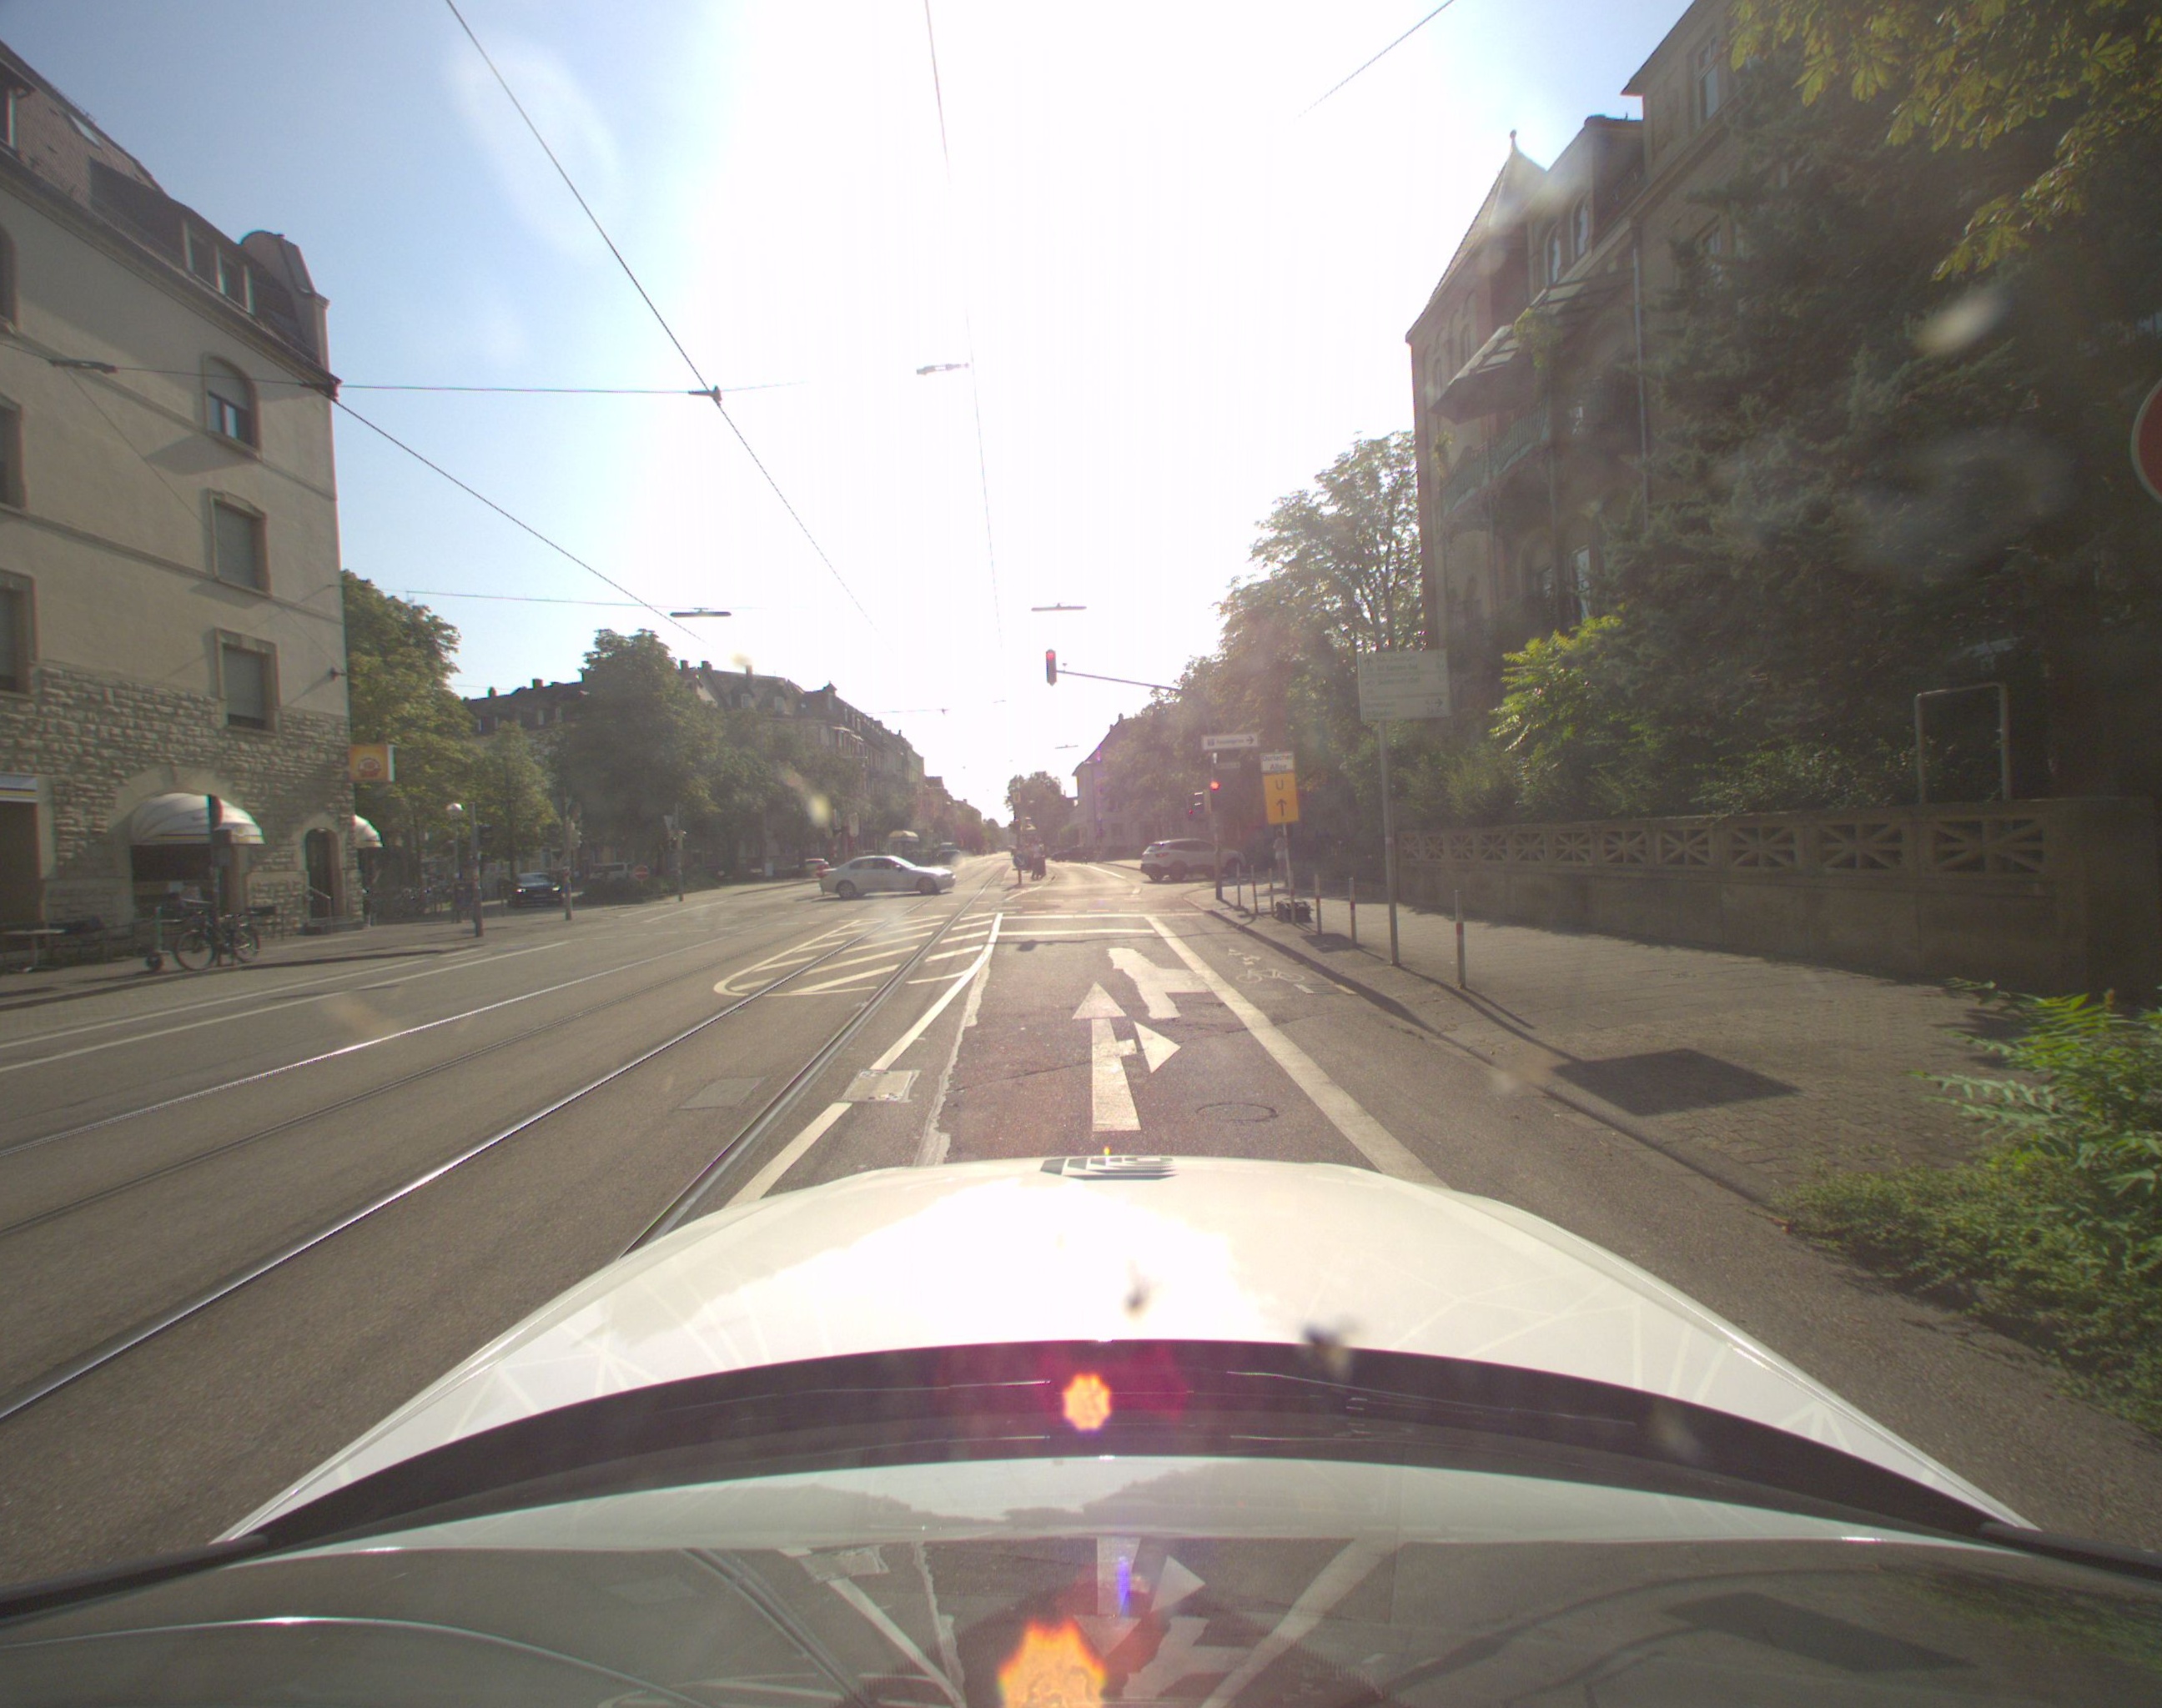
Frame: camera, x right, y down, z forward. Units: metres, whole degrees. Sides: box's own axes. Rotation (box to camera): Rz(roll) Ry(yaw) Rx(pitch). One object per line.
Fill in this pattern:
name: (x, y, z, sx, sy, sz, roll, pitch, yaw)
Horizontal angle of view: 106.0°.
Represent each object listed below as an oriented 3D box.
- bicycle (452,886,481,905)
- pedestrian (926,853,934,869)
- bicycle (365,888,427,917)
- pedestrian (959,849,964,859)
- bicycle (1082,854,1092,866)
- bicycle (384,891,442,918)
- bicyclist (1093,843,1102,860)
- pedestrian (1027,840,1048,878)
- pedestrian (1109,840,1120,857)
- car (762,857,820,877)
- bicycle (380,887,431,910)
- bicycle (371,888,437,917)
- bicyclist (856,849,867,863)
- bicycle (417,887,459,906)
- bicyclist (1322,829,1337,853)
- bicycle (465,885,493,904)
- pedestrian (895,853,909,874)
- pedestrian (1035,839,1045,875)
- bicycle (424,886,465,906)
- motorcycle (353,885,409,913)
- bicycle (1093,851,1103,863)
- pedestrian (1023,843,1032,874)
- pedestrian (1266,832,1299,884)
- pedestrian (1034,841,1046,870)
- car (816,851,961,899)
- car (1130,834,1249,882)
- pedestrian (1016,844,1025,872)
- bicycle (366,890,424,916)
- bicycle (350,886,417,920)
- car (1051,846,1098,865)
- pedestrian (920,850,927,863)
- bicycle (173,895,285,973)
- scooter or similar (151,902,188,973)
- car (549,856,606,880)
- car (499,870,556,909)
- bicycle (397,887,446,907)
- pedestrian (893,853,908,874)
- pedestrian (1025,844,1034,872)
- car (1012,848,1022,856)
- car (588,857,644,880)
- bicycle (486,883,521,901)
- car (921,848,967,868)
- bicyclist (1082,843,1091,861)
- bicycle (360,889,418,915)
bicycle: (-36.390, 2.443, 48.221, 0.423, 0.977, 1.767, -3, 1, -4)
pedestrian: (-17.431, 0.785, 94.191, 0.748, 1.730, 0.771, -3, 0, -2)
bicycle: (-27.722, 1.948, 32.973, 1.889, 1.033, 0.563, -2, 0, -43)
pedestrian: (-20.912, 0.024, 142.312, 0.751, 1.730, 0.768, -3, 0, -13)
bicycle: (0.482, 0.503, 69.617, 0.628, 0.977, 1.767, -3, 1, -5)
bicycle: (-25.469, 1.907, 31.086, 0.473, 0.920, 1.618, -3, 0, 26)
bicyclist: (1.402, -0.208, 69.009, 0.557, 1.416, 0.870, -3, 1, -5)
pedestrian: (-2.013, 0.212, 37.815, 0.693, 1.724, 0.753, 1, 3, 29)
pedestrian: (3.627, -0.616, 87.463, 0.884, 1.740, 0.780, -3, 0, 17)
car: (-25.655, 1.156, 72.131, 4.360, 1.569, 1.976, -3, 1, -42)
bicycle: (-33.911, 2.226, 40.891, 1.910, 0.980, 0.678, -2, 0, -38)
bicycle: (-26.588, 1.909, 32.026, 0.562, 1.003, 1.890, -3, 0, 33)
bicyclist: (-21.007, 0.197, 78.025, 0.816, 1.328, 0.548, -3, 1, 0)
bicycle: (-37.444, 2.484, 47.428, 1.774, 0.977, 0.515, -3, 1, -26)
bicyclist: (19.660, -1.034, 64.421, 0.496, 1.857, 0.977, -3, 0, -45)
bicycle: (-36.059, 2.428, 48.832, 0.423, 0.977, 1.767, -3, 1, -4)
pedestrian: (-12.015, 0.616, 54.742, 0.827, 1.358, 0.774, -3, 0, -8)
pedestrian: (-2.109, 0.133, 42.079, 0.503, 1.833, 0.533, 0, 3, -4)
bicycle: (-37.627, 2.479, 48.192, 1.774, 0.977, 0.600, -3, 1, -27)
motorcycle: (-32.168, 2.051, 37.434, 1.884, 1.154, 0.601, -2, 0, -38)
bicycle: (1.432, 0.217, 68.999, 0.557, 0.977, 1.853, -3, 1, -5)
pedestrian: (-3.042, 0.255, 46.723, 0.503, 1.759, 0.533, 0, 3, -4)
pedestrian: (6.890, 0.130, 27.825, 0.751, 1.730, 0.768, -3, 0, -13)
pedestrian: (-2.581, 0.090, 50.956, 0.707, 1.759, 0.533, 0, 3, -4)
car: (-6.987, 0.743, 29.859, 4.754, 1.466, 1.870, -3, 0, 0)
car: (4.350, 0.138, 32.622, 4.341, 1.630, 1.983, -3, 1, -26)
pedestrian: (-3.909, 0.240, 52.906, 0.531, 1.759, 0.544, 0, 3, -3)
bicycle: (-28.662, 2.033, 34.040, 1.815, 0.984, 0.563, -2, 0, -45)
bicycle: (-26.348, 1.841, 30.800, 0.563, 1.113, 1.887, -3, 0, 17)
car: (-0.644, 0.132, 80.865, 4.299, 1.569, 2.004, -3, 0, 7)
pedestrian: (-21.136, 0.350, 109.417, 0.751, 1.730, 0.768, -3, 0, -13)
bicycle: (-15.761, 1.443, 15.131, 0.453, 1.226, 1.849, -3, 1, -13)
scooter or similar: (-16.300, 1.469, 14.552, 1.021, 1.197, 0.369, -2, 0, 40)
car: (-42.968, 1.199, 69.525, 3.955, 1.828, 2.009, -3, 1, 17)
car: (-25.135, 1.563, 36.929, 1.620, 1.515, 4.178, -4, 2, -40)
bicycle: (-35.222, 2.273, 43.503, 1.880, 0.935, 0.634, -3, 0, -22)
pedestrian: (-11.931, 0.620, 53.770, 0.827, 1.358, 0.774, -3, 0, -8)
pedestrian: (-3.264, 0.230, 51.530, 0.542, 1.759, 0.533, 0, 3, -4)
car: (-13.516, -0.488, 171.453, 1.797, 1.653, 3.639, -3, 1, -3)
car: (-41.114, 1.302, 71.991, 3.955, 1.828, 2.009, -3, 1, 17)
bicycle: (-36.920, 2.429, 52.091, 1.757, 0.977, 0.606, -3, 1, 3)
car: (-13.565, 0.369, 80.335, 4.325, 1.675, 1.992, -3, 0, -12)
bicyclist: (0.453, -0.195, 69.610, 0.628, 1.507, 0.677, -3, 1, -6)
bicycle: (-29.577, 2.045, 34.812, 1.815, 0.983, 0.652, -2, 0, -45)
